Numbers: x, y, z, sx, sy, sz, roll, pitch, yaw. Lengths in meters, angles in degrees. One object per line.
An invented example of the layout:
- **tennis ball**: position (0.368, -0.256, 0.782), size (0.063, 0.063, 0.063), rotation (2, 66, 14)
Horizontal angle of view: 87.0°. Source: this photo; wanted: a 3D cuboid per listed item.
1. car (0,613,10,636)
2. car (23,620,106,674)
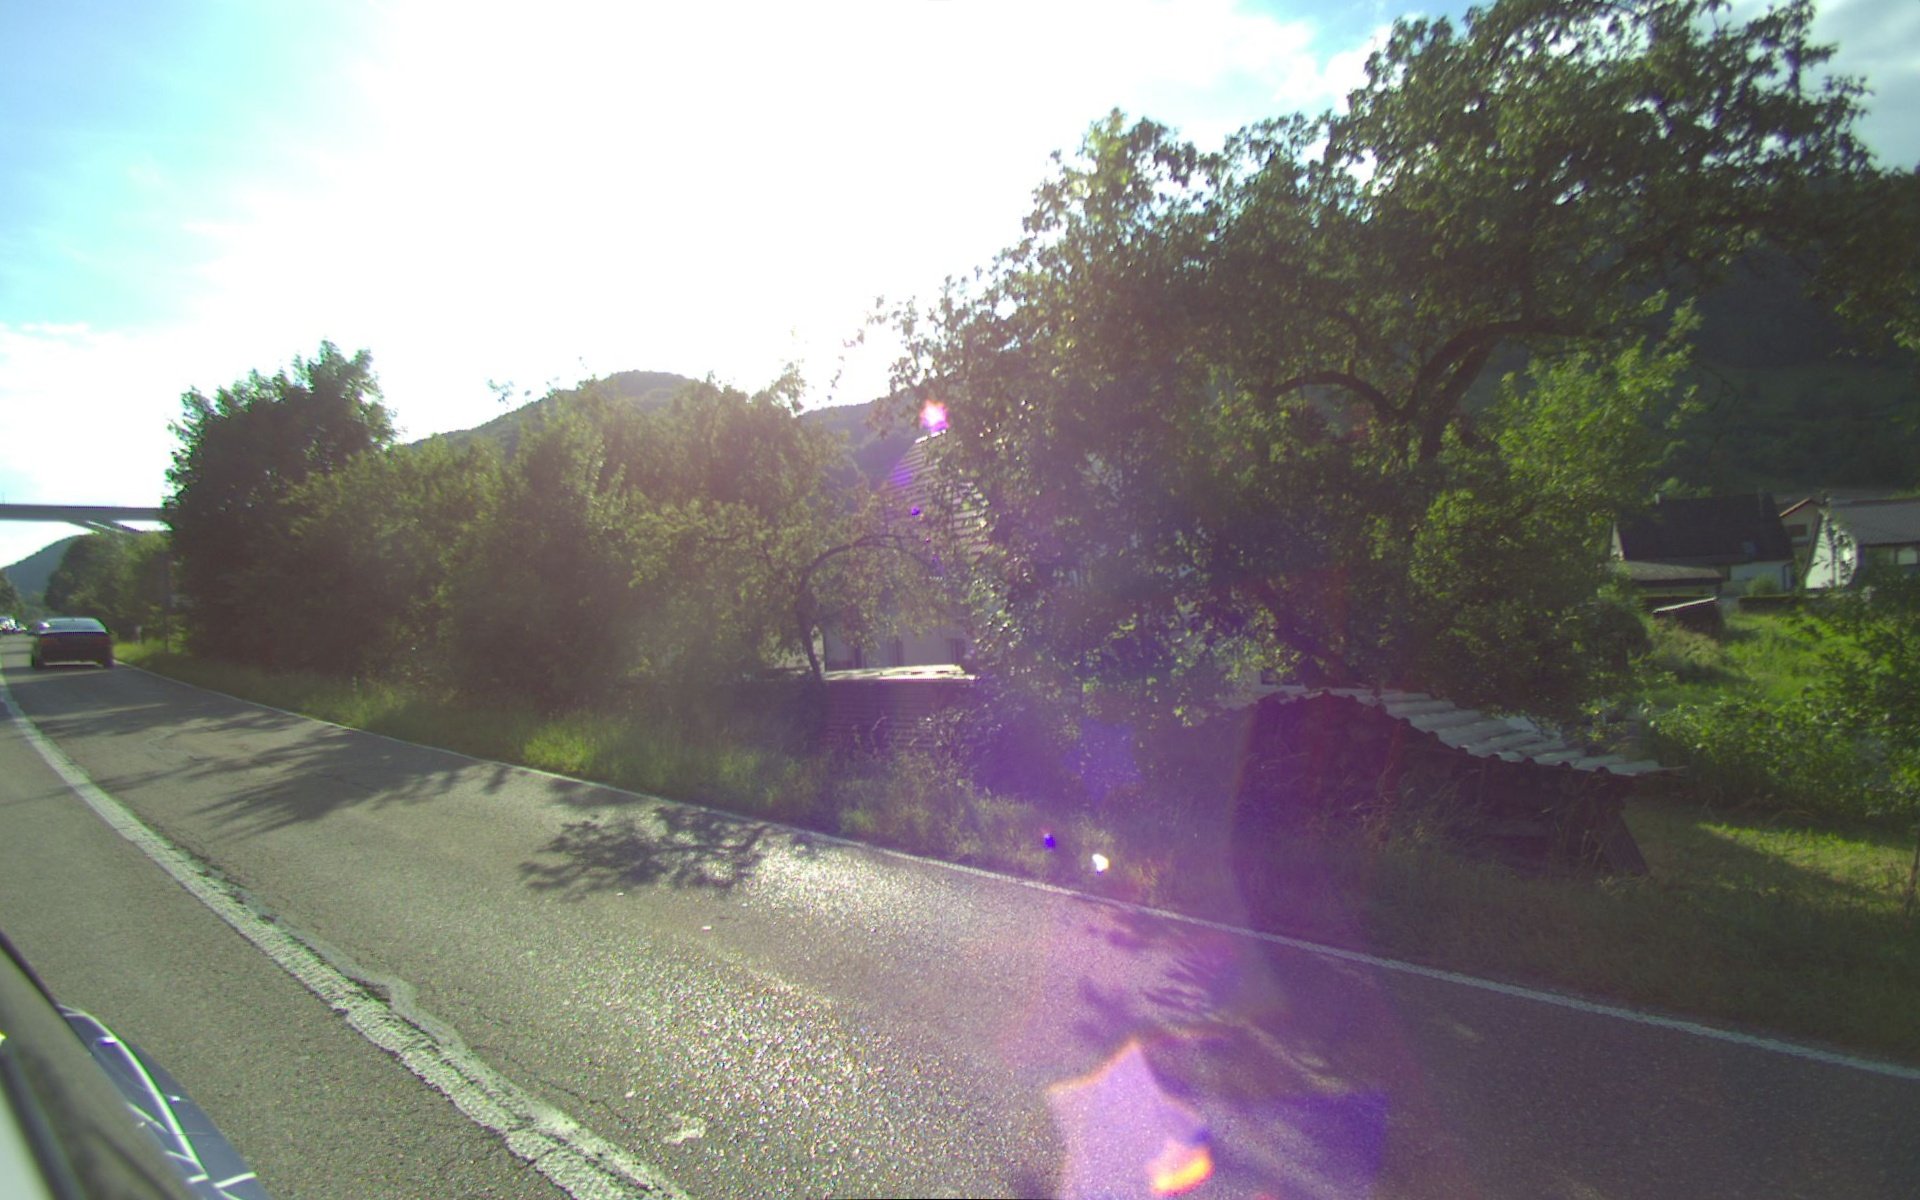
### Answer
- **car**: position (-88.427, 2.245, 92.709), size (1.971, 2.029, 4.002), rotation (-1, 0, -45)
- **car**: position (-25.425, 1.279, 28.678), size (1.575, 1.364, 4.206), rotation (-1, 0, -44)
